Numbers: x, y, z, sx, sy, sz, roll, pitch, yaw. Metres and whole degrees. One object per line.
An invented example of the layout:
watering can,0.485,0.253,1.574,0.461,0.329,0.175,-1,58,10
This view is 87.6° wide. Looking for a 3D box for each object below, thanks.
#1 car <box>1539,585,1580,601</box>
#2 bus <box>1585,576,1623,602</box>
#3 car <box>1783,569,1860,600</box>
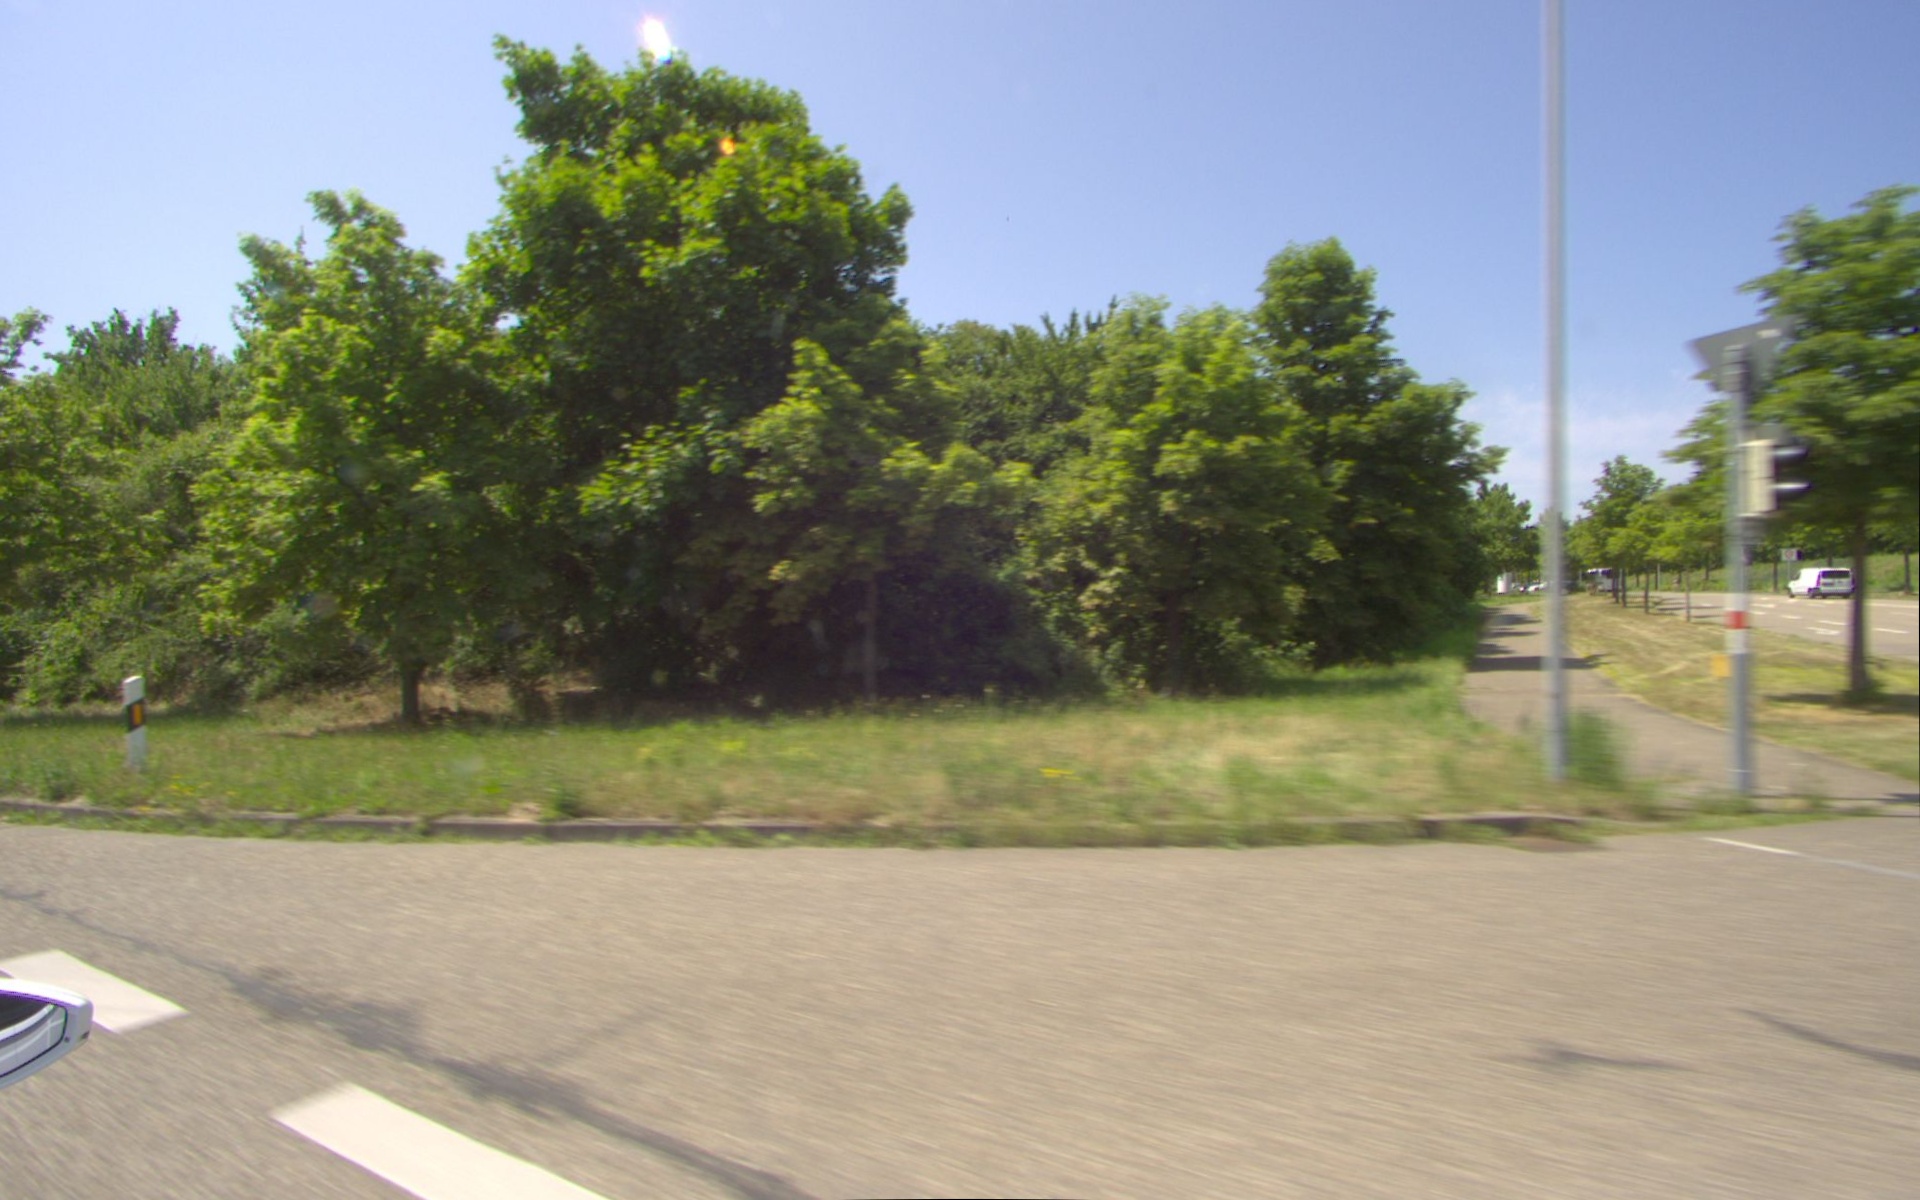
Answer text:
car,65.318,-0.772,109.186,3.772,1.571,1.656,-2,-3,31
bus,83.750,-1.348,130.348,2.589,3.127,12.039,-1,-1,26
car,52.673,-0.972,61.316,1.833,1.843,4.897,0,1,19
